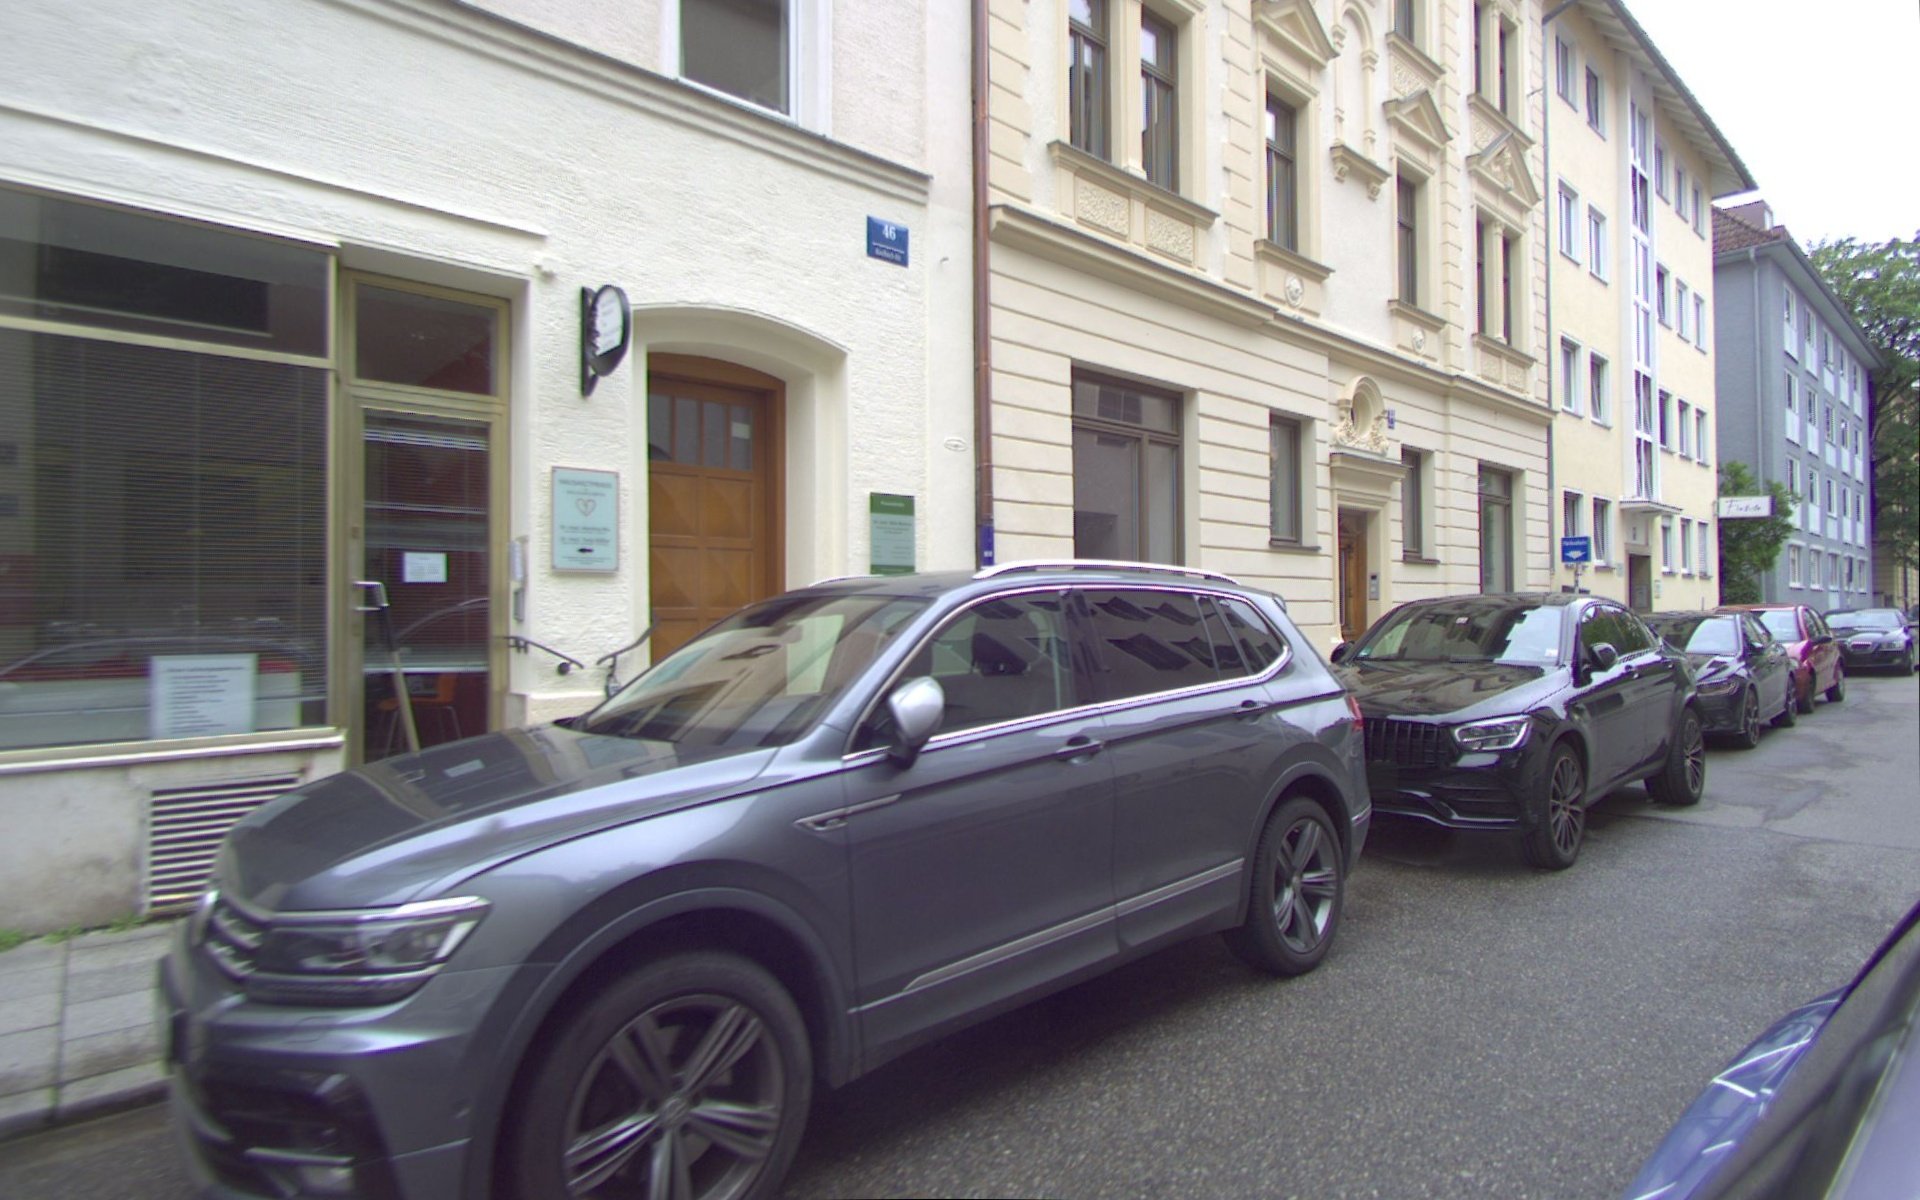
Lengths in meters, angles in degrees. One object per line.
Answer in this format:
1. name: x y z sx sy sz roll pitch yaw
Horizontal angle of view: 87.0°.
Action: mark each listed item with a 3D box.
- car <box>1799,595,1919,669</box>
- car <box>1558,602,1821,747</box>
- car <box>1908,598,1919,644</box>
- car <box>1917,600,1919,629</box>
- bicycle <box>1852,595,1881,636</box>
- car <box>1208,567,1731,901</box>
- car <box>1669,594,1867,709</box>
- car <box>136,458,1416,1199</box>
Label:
1. car: 19.293 0.637 21.288 4.431 1.352 1.827 0 -5 -42
2. car: 8.677 0.748 11.916 3.995 1.411 1.678 0 -1 -42
3. car: 32.074 0.597 32.630 4.192 1.447 1.841 0 -5 -44
4. car: 35.533 0.631 35.884 4.406 1.420 1.792 0 -4 -41
5. bicycle: 34.048 0.557 37.988 2.240 1.505 0.515 0 -1 -41
6. car: 3.811 0.661 7.118 4.604 1.627 1.704 0 -1 -42
7. car: 12.145 0.684 15.140 3.787 1.511 1.678 0 -1 -42
8. car: -0.151 0.619 3.738 4.435 1.682 1.678 0 -1 -42
